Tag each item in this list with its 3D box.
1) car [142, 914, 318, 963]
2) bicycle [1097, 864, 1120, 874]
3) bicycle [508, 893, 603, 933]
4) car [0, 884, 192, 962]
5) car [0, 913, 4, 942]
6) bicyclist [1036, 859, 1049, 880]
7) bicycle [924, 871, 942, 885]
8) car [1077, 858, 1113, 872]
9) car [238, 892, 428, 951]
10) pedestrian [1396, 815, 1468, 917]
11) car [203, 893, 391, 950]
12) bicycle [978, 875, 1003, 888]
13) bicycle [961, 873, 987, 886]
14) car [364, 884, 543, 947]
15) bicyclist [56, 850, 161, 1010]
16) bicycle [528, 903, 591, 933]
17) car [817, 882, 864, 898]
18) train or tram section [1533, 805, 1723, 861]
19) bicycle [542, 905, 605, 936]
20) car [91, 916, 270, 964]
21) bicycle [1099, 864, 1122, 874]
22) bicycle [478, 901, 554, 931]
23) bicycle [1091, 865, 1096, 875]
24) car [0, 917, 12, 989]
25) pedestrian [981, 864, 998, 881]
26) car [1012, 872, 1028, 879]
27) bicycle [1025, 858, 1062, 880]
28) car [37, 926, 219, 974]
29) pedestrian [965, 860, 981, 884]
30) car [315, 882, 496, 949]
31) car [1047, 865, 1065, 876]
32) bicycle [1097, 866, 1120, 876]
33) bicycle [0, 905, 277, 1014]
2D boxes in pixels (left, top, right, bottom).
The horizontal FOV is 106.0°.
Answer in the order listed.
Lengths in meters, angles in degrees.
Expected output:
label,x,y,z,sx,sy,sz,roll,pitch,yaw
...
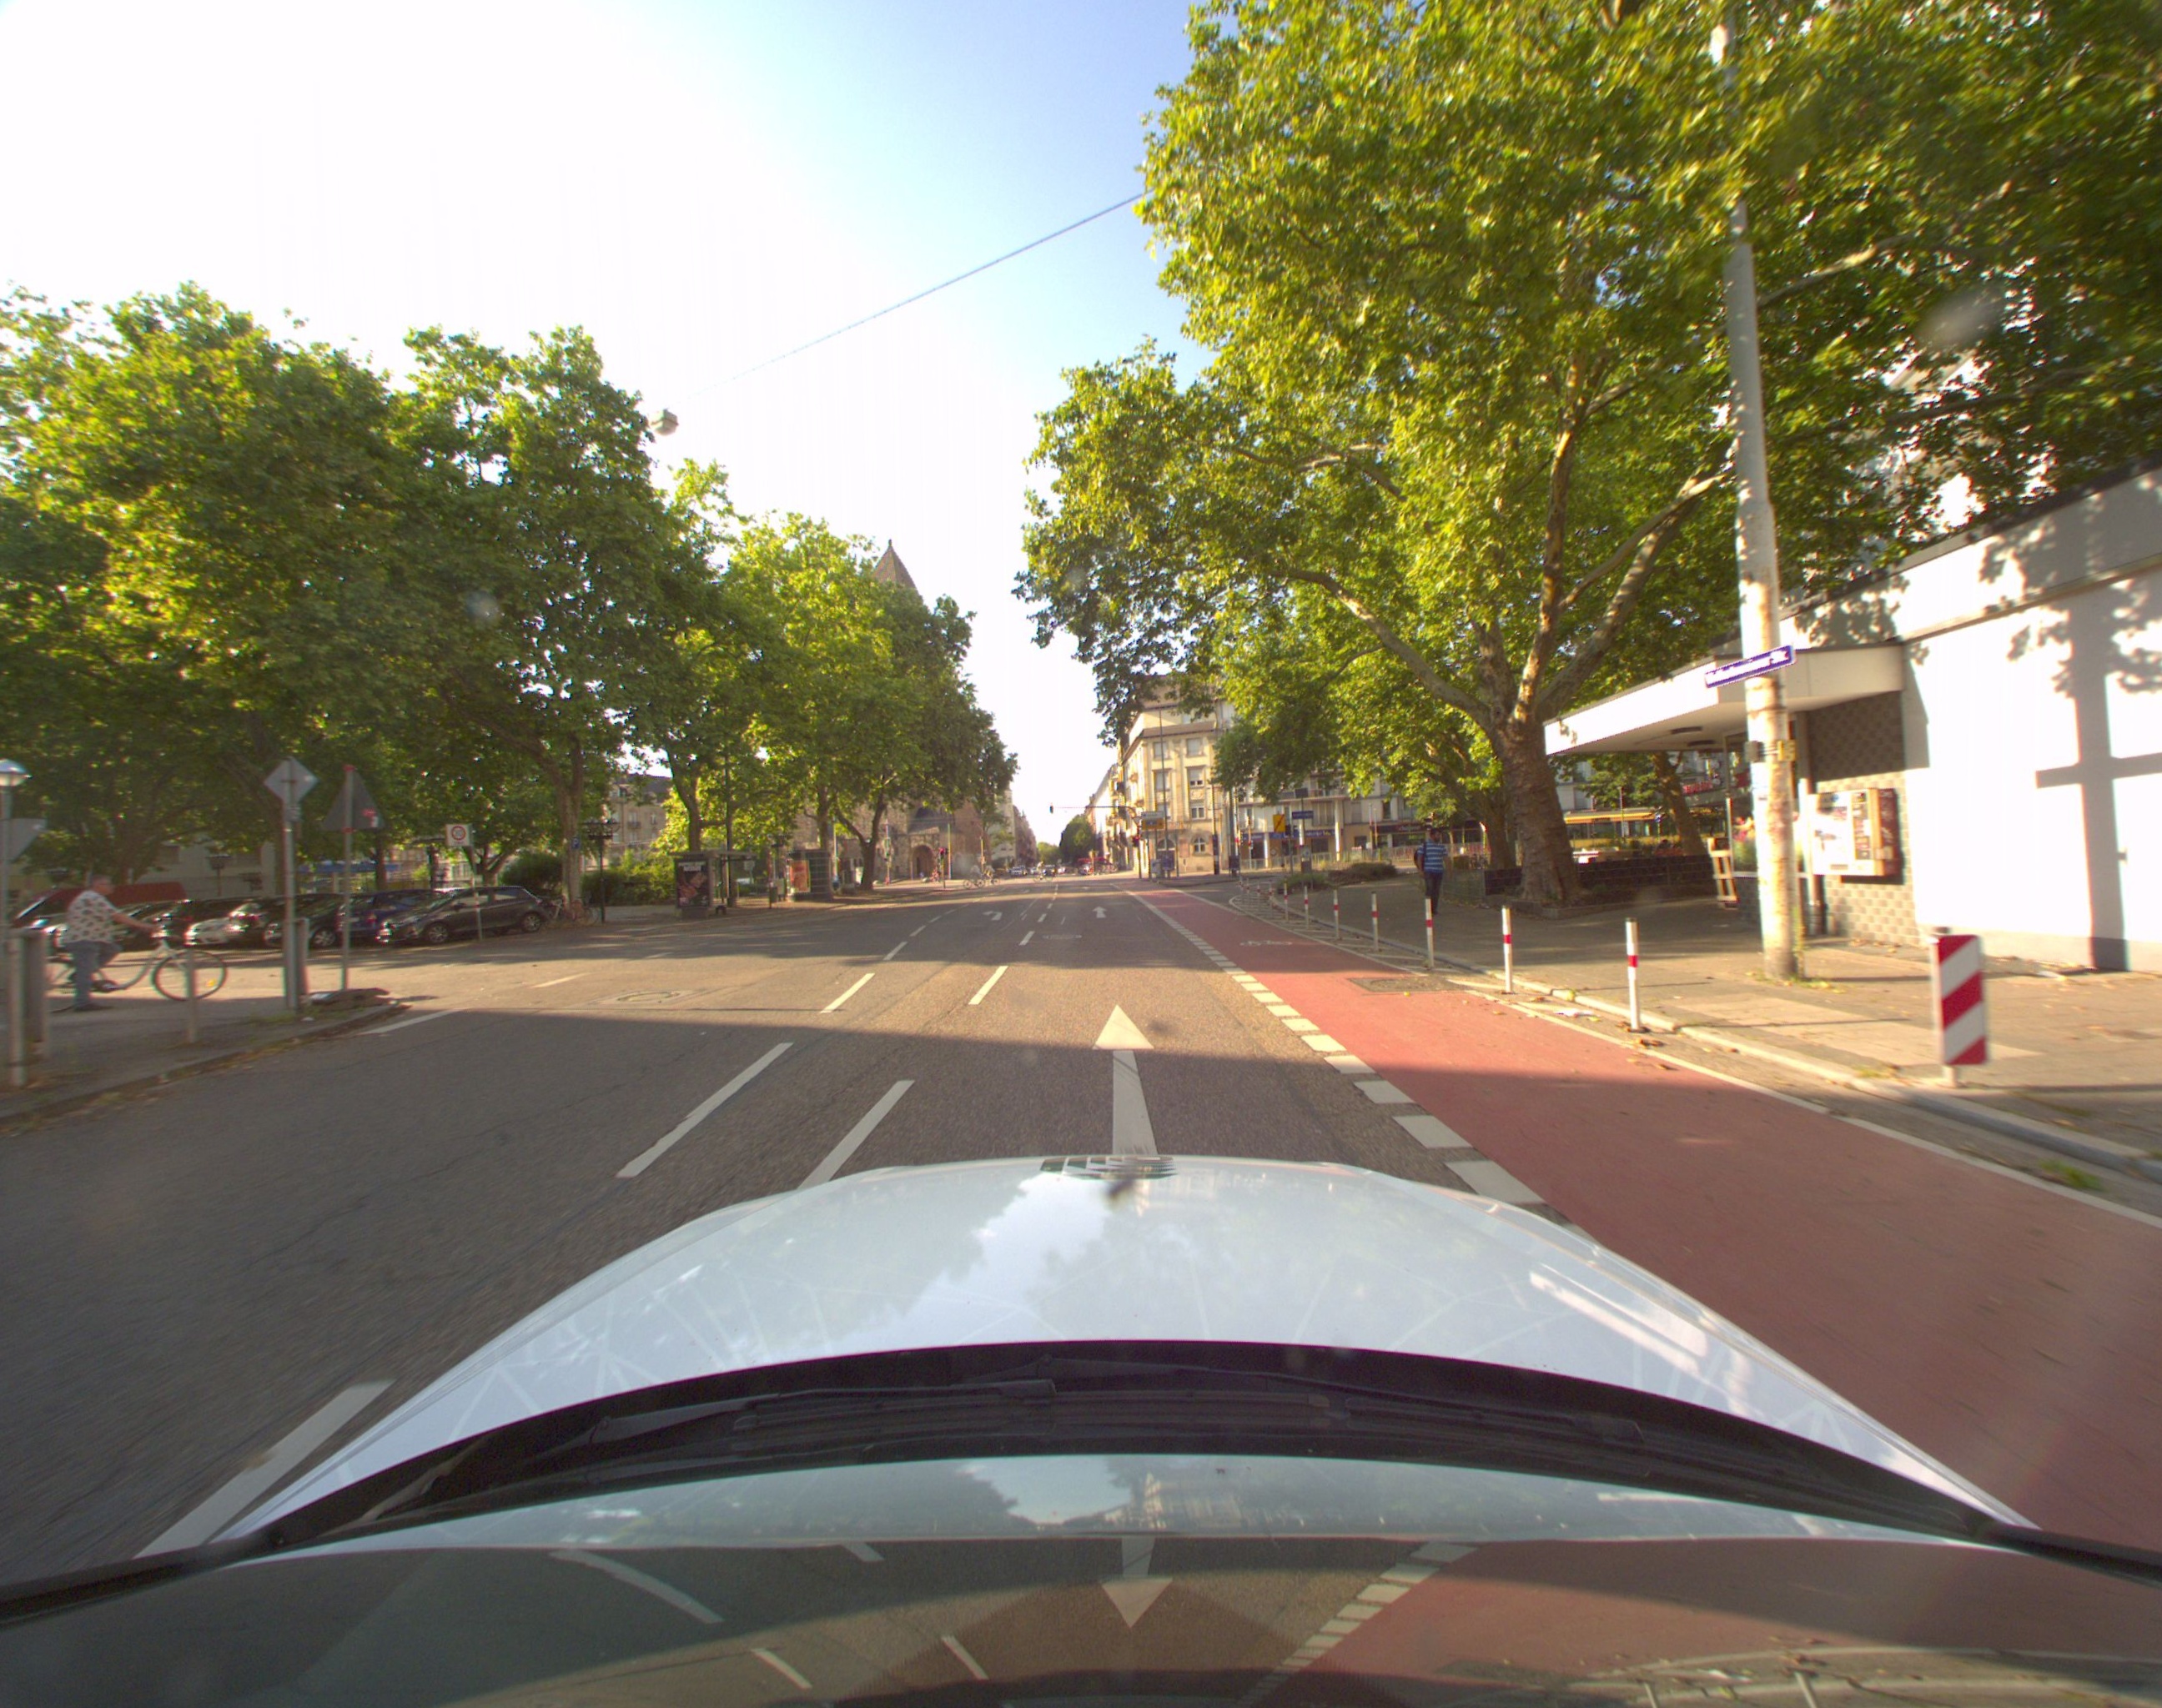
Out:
label,x,y,z,sx,sy,sz,roll,pitch,yaw
car,-27.295,2.668,26.317,1.643,1.336,3.700,-1,-2,3
bicycle,3.496,1.896,103.188,2.798,1.204,0.516,-1,-3,-5
bicycle,-16.382,1.800,25.530,0.715,1.146,3.293,-1,-2,2
car,-40.611,2.746,33.214,1.635,2.910,5.593,-5,-4,23
car,-52.410,3.421,36.430,1.636,1.360,4.812,-5,-4,20
bicyclist,-3.056,1.264,65.115,0.797,1.657,0.937,-1,-3,10
bicycle,-18.939,3.109,104.188,1.280,1.750,4.003,-1,-2,4
car,2.101,1.659,122.187,5.026,2.014,2.142,1,-3,-37
car,-22.728,2.004,25.000,1.864,1.618,4.006,-1,-2,6
pedestrian,7.349,0.267,17.121,0.824,2.014,1.153,-6,-3,2
car,-24.923,2.104,26.120,1.864,1.618,4.006,-1,-2,6
bicycle,-6.909,2.126,62.133,1.765,0.895,0.755,-3,-2,26
bicycle,-7.949,1.896,60.505,1.770,0.982,0.659,-1,-3,16
car,-17.896,1.701,23.424,1.735,1.517,3.668,-4,-1,20
bicyclist,-13.042,0.988,10.928,0.964,2.014,0.802,-3,-3,37
bicycle,-18.725,2.268,29.302,0.546,0.993,2.222,-1,-2,10
car,-22.279,3.327,75.470,3.894,1.397,1.660,-2,-3,19
train or tram section,42.022,-1.506,63.191,11.686,3.641,3.435,-2,-3,23
bicycle,-18.150,2.361,29.198,0.546,0.993,2.222,-1,-2,10
car,-29.552,2.795,26.905,1.643,1.336,3.700,-1,-2,3
bicycle,3.764,1.914,103.889,2.798,1.204,0.509,-1,-3,-5
bicycle,-20.824,2.268,30.049,0.544,0.993,2.230,-3,-3,40
bicycle,1.614,2.049,105.318,0.506,1.204,2.091,-1,-2,1
car,-21.851,1.871,13.903,1.635,1.336,4.057,-5,-4,24
pedestrian,-6.997,1.398,62.195,1.039,1.278,0.796,-2,-3,27
car,-10.289,3.703,137.305,1.581,1.144,3.398,-2,-3,17
bicycle,-2.998,1.199,65.076,2.824,1.656,0.833,-1,-3,10
car,-32.061,3.200,27.572,1.643,1.336,3.700,-1,-2,3
pedestrian,-8.024,1.342,60.525,0.983,1.708,0.631,-2,-3,17
car,-20.485,1.814,24.944,1.864,1.618,4.007,-2,1,6
car,-3.430,2.244,110.916,1.574,1.463,3.196,-2,-3,16
bicycle,3.398,2.121,101.858,2.798,1.204,0.509,-1,-3,-5
bicycle,-12.855,1.361,11.139,0.998,1.264,2.499,-3,-3,36
